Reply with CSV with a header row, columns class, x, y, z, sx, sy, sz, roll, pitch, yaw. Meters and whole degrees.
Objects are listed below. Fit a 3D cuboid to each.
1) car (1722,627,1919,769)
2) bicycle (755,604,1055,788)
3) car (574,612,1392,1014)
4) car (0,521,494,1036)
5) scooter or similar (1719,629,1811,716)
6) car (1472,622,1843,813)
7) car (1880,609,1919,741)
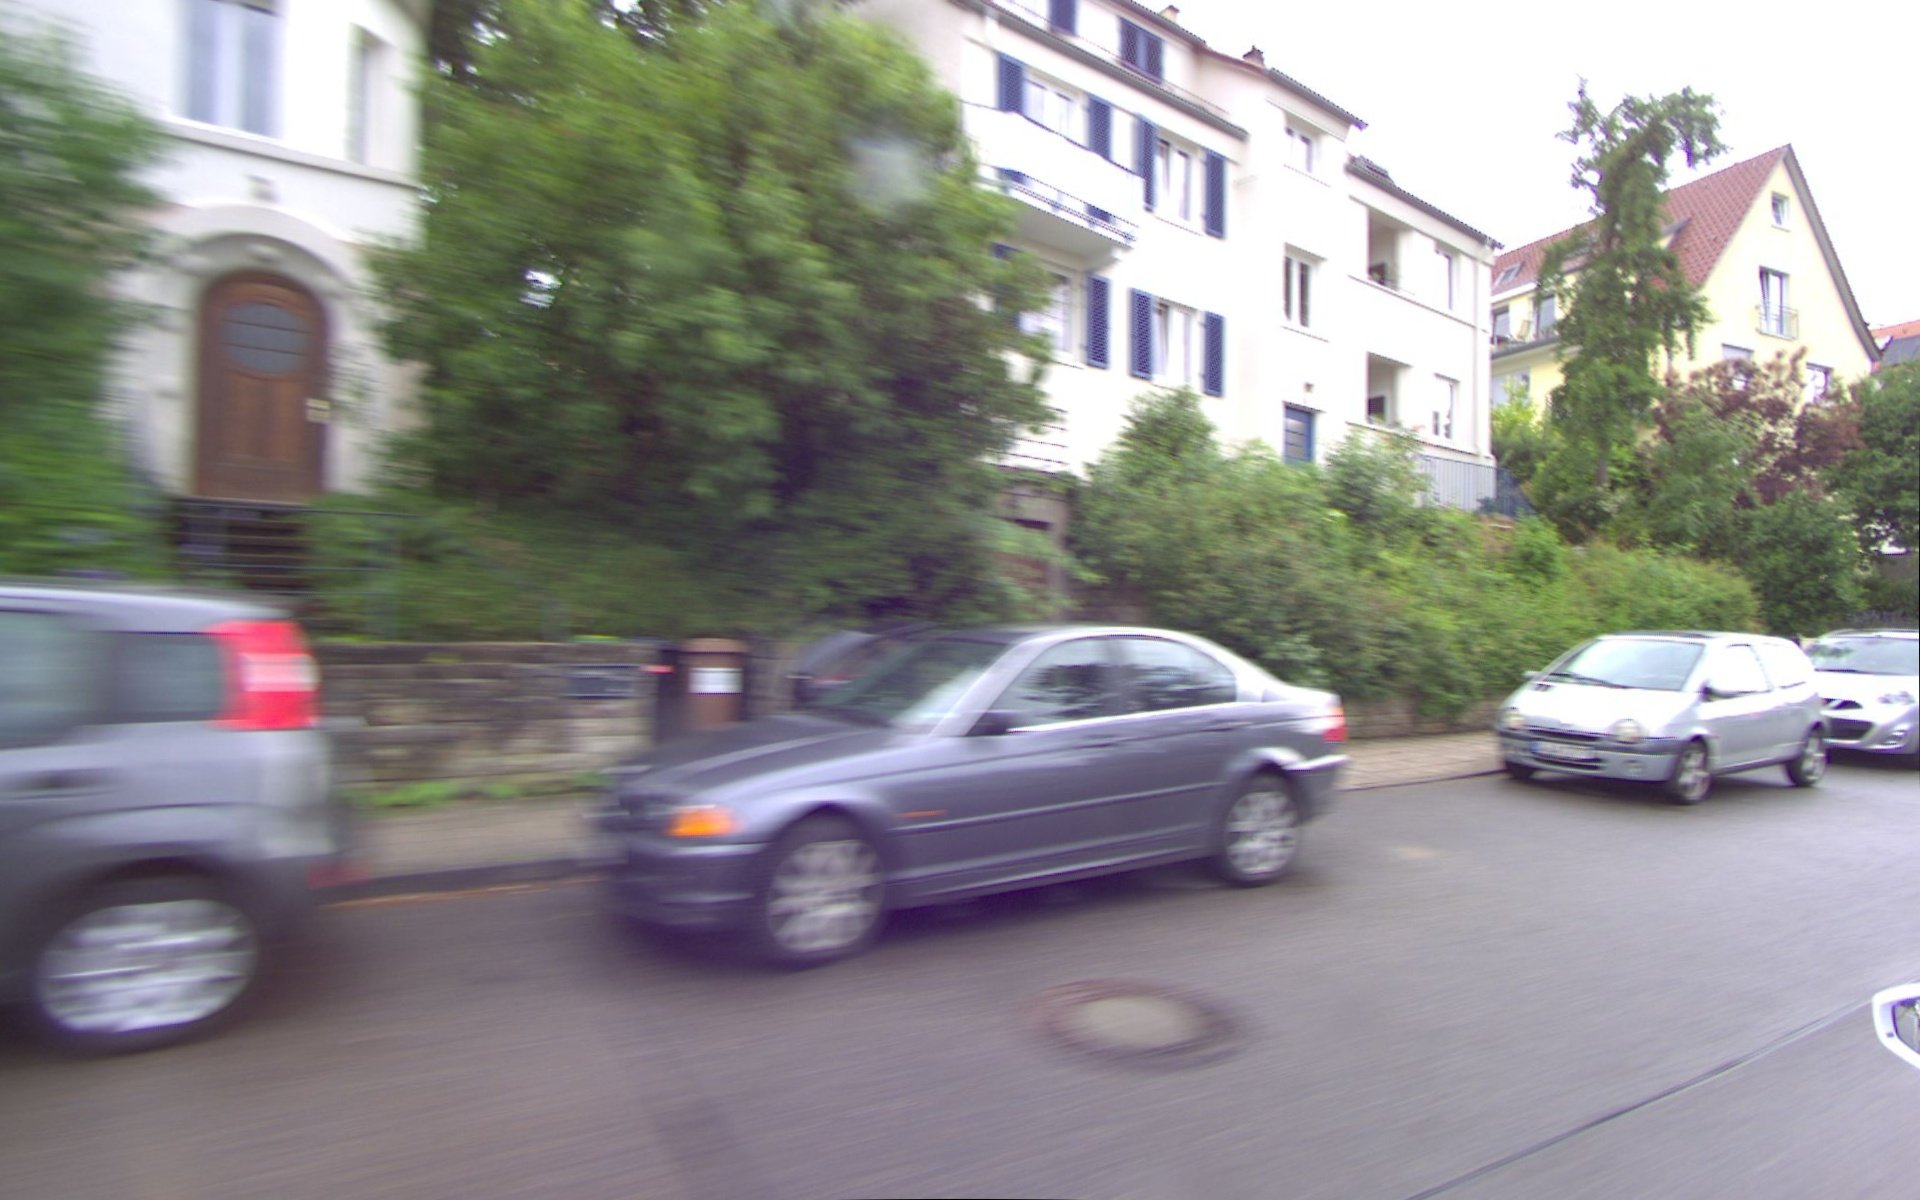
class,x,y,z,sx,sy,sz,roll,pitch,yaw
car,11.234,1.127,12.319,3.769,1.466,1.686,2,-1,-30
bicycle,-0.429,0.693,8.239,2.264,1.319,0.999,0,0,-31
car,0.285,0.816,5.634,4.365,1.466,1.747,0,0,-31
car,-3.793,0.522,3.494,3.770,1.561,1.688,2,-1,-31
scooter or similar,12.728,1.115,15.868,1.896,1.273,0.498,0,0,-31
car,6.761,0.976,9.680,3.586,1.466,1.638,0,0,-31
car,16.502,1.187,15.384,5.292,1.903,1.984,2,0,-30
